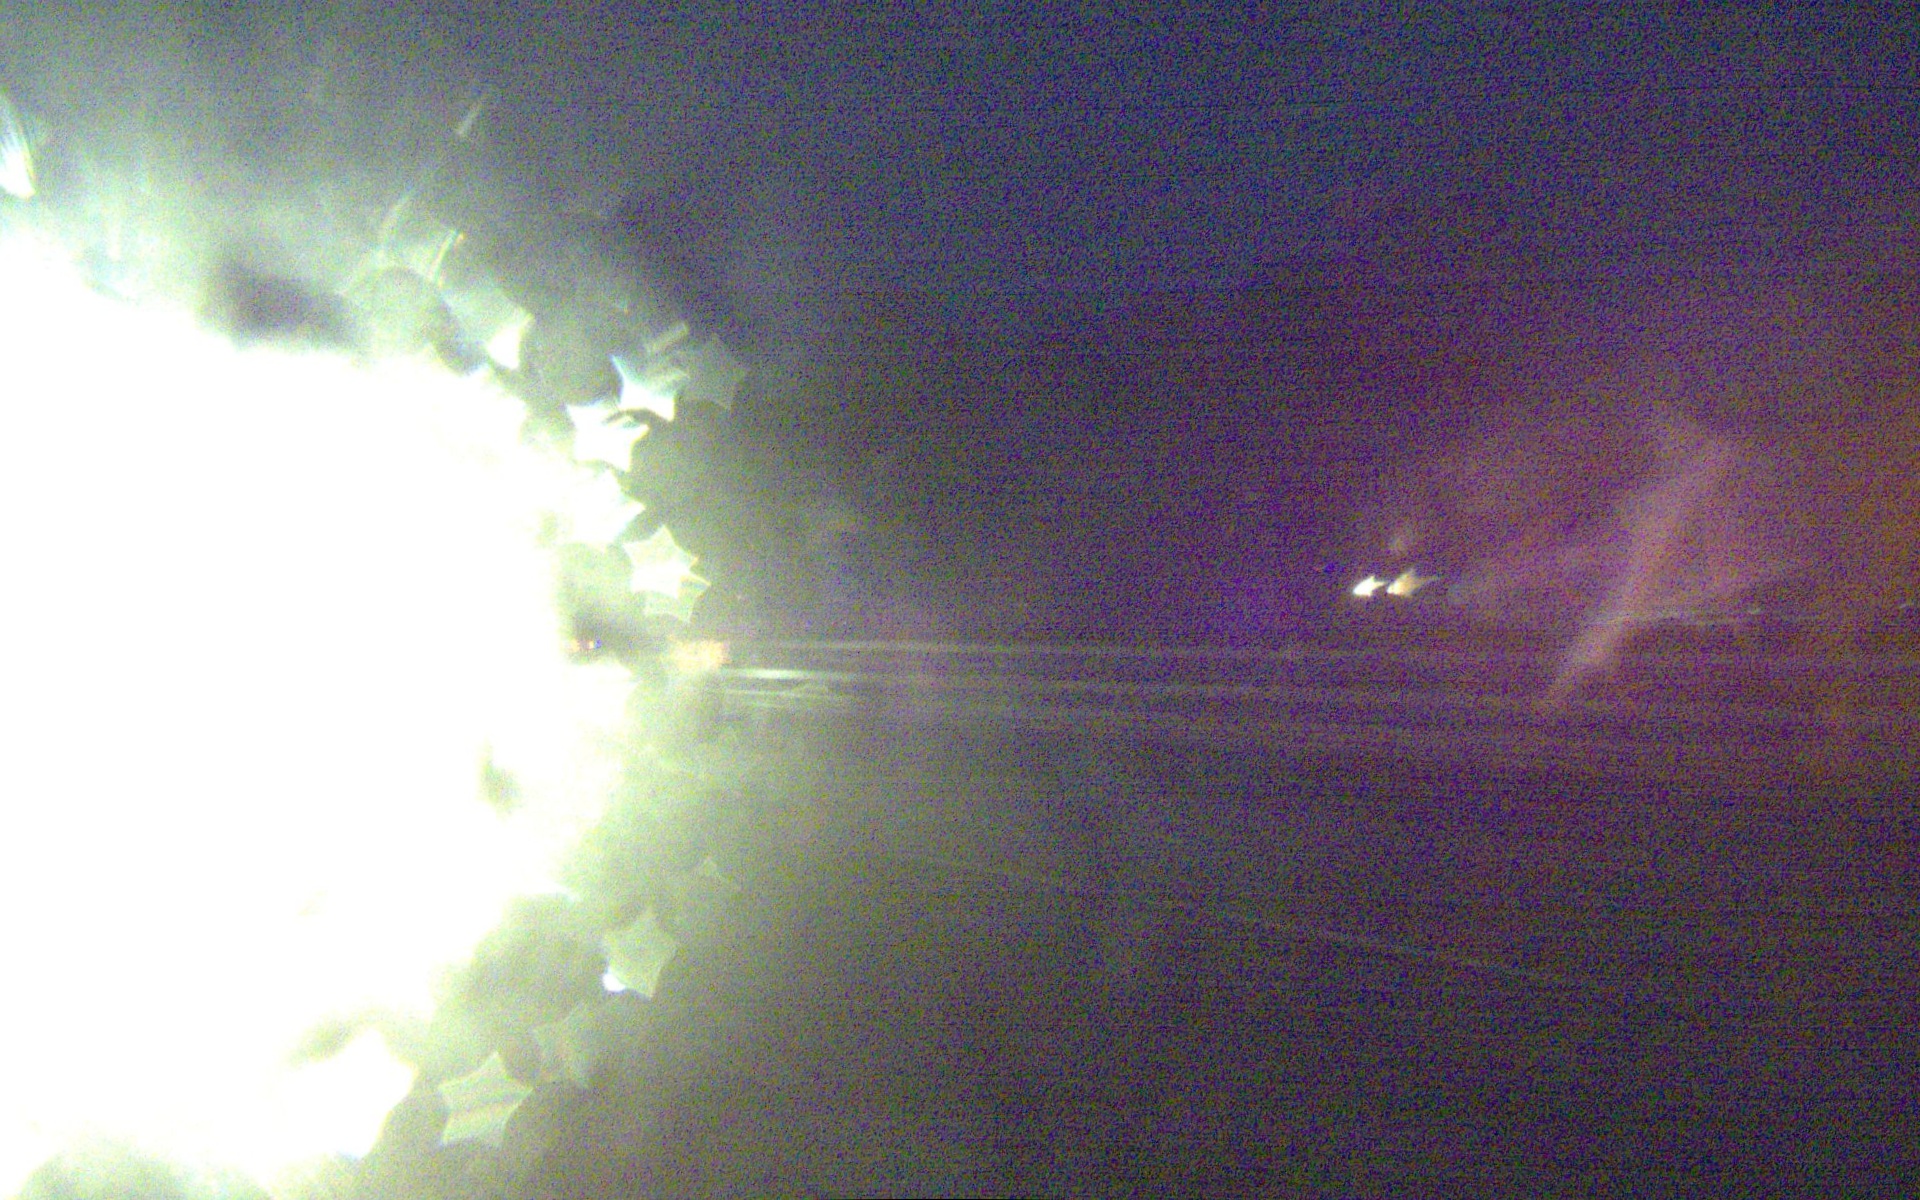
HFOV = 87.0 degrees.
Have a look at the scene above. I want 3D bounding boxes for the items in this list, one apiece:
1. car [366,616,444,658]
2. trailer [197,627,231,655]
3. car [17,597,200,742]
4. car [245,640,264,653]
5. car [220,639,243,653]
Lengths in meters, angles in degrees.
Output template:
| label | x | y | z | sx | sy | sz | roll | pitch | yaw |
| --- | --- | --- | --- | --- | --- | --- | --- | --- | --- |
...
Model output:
| label | x | y | z | sx | sy | sz | roll | pitch | yaw |
| --- | --- | --- | --- | --- | --- | --- | --- | --- | --- |
| car | -27.986 | 1.829 | 50.989 | 4.809 | 2.029 | 1.972 | -1 | -2 | 42 |
| trailer | -100.754 | 5.448 | 136.619 | 2.577 | 3.499 | 10.459 | 2 | -2 | -42 |
| car | -14.346 | 1.104 | 16.970 | 4.463 | 2.121 | 1.730 | -2 | -4 | 43 |
| car | -96.705 | 6.383 | 138.700 | 1.807 | 1.726 | 4.007 | 1 | -2 | -39 |
| car | -78.124 | 4.967 | 108.513 | 1.585 | 1.352 | 3.245 | 0 | 0 | -44 |
